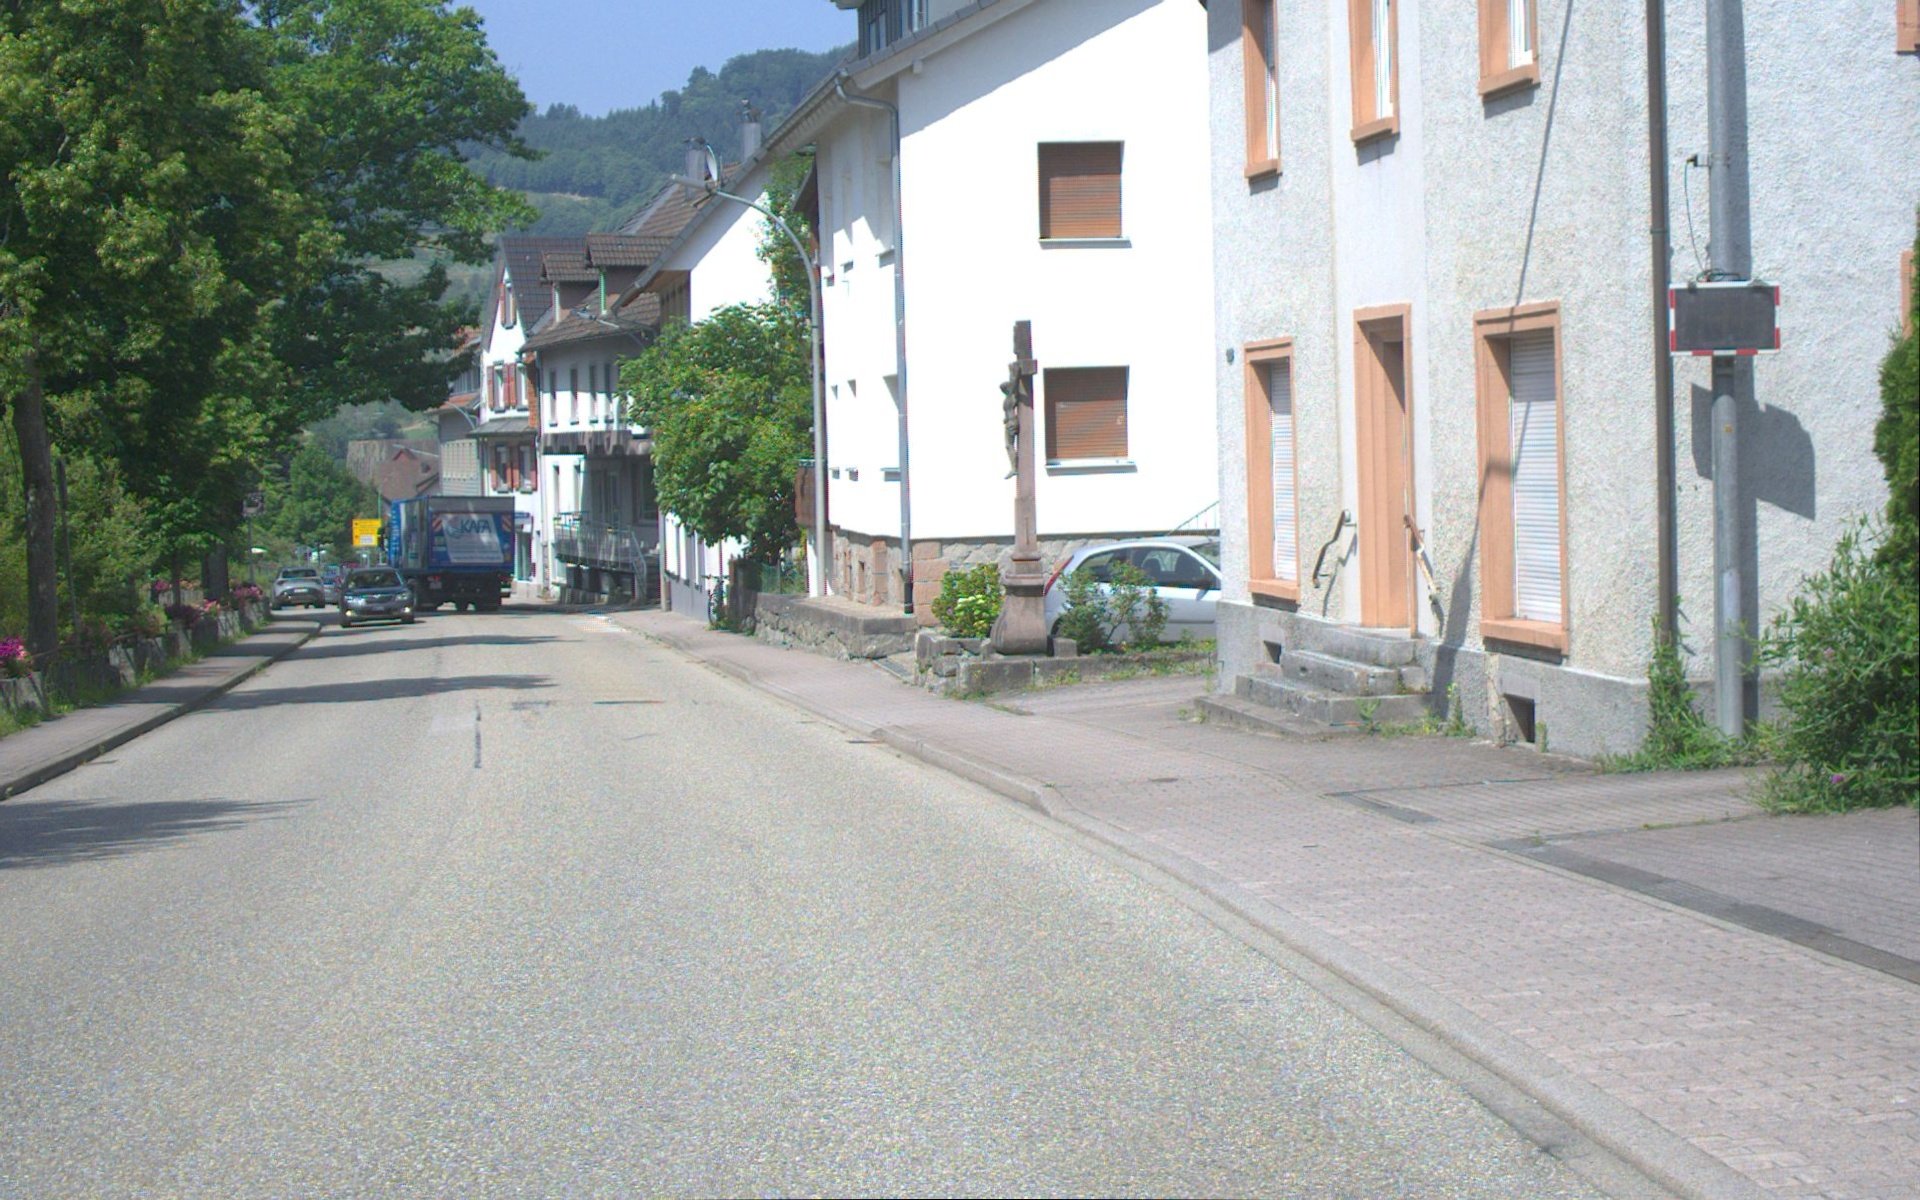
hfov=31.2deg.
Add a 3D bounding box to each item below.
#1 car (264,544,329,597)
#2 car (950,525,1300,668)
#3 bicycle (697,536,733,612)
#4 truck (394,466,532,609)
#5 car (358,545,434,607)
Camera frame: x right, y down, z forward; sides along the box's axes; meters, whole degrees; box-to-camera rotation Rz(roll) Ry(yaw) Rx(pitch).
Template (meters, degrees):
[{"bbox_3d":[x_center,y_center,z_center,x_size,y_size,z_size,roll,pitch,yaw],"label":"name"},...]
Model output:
[{"bbox_3d":[-25.318,-1.118,131.098,1.774,1.728,4.001,-5,0,-19],"label":"car"},{"bbox_3d":[1.914,-0.029,40.388,3.772,1.422,1.607,-3,1,38],"label":"car"},{"bbox_3d":[-4.672,-0.507,65.439,0.425,1.391,2.277,-5,2,-7],"label":"bicycle"},{"bbox_3d":[-15.114,-1.804,104.041,3.362,3.769,8.442,-5,0,-11],"label":"truck"},{"bbox_3d":[-13.947,-0.596,85.135,1.666,1.413,4.087,-3,1,-8],"label":"car"}]
